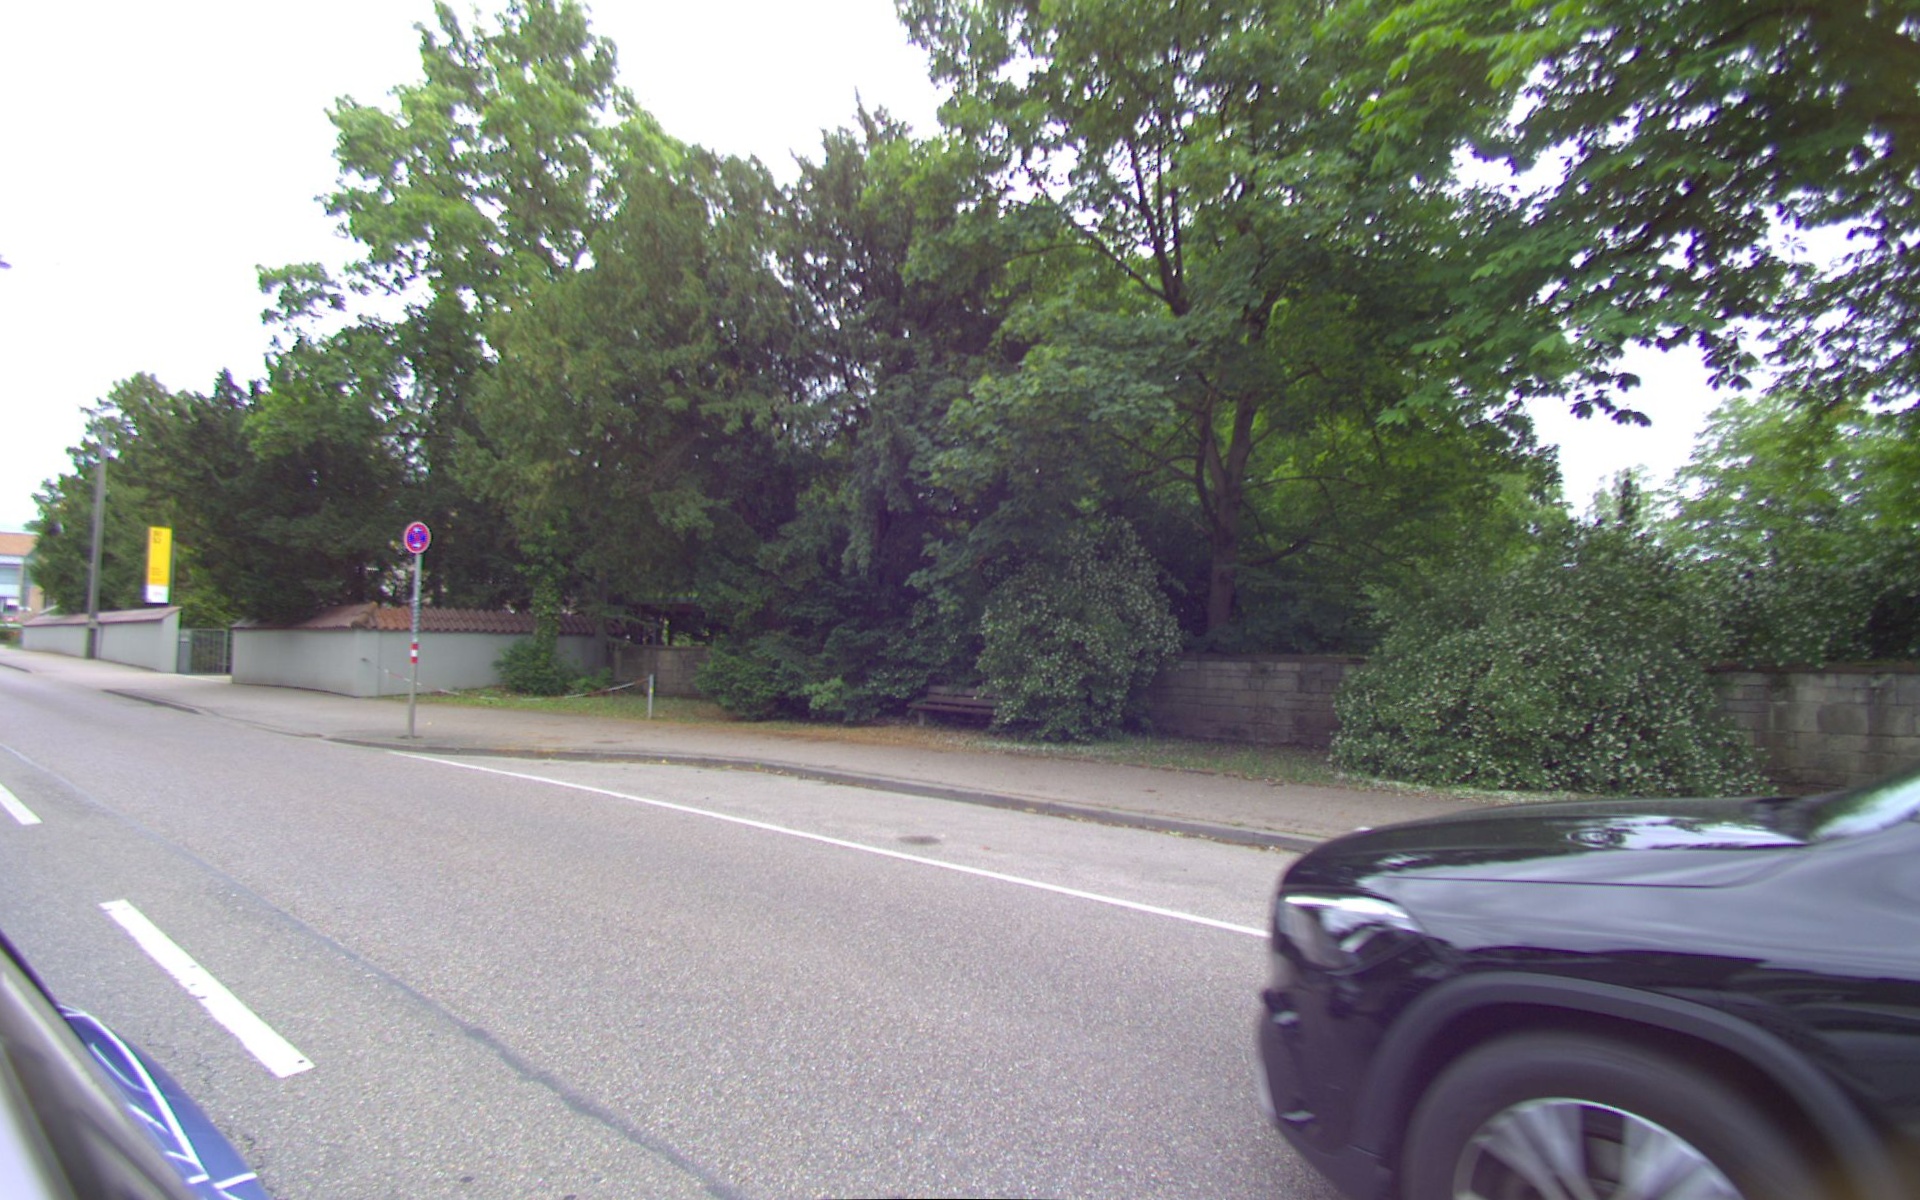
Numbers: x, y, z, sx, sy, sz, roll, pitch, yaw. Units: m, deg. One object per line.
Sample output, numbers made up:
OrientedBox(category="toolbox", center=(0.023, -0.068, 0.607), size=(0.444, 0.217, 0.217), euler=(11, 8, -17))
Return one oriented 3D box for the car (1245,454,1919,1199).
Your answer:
OrientedBox(category="car", center=(2.847, 0.665, 1.494), size=(4.304, 1.670, 1.840), euler=(-1, -6, 41))
